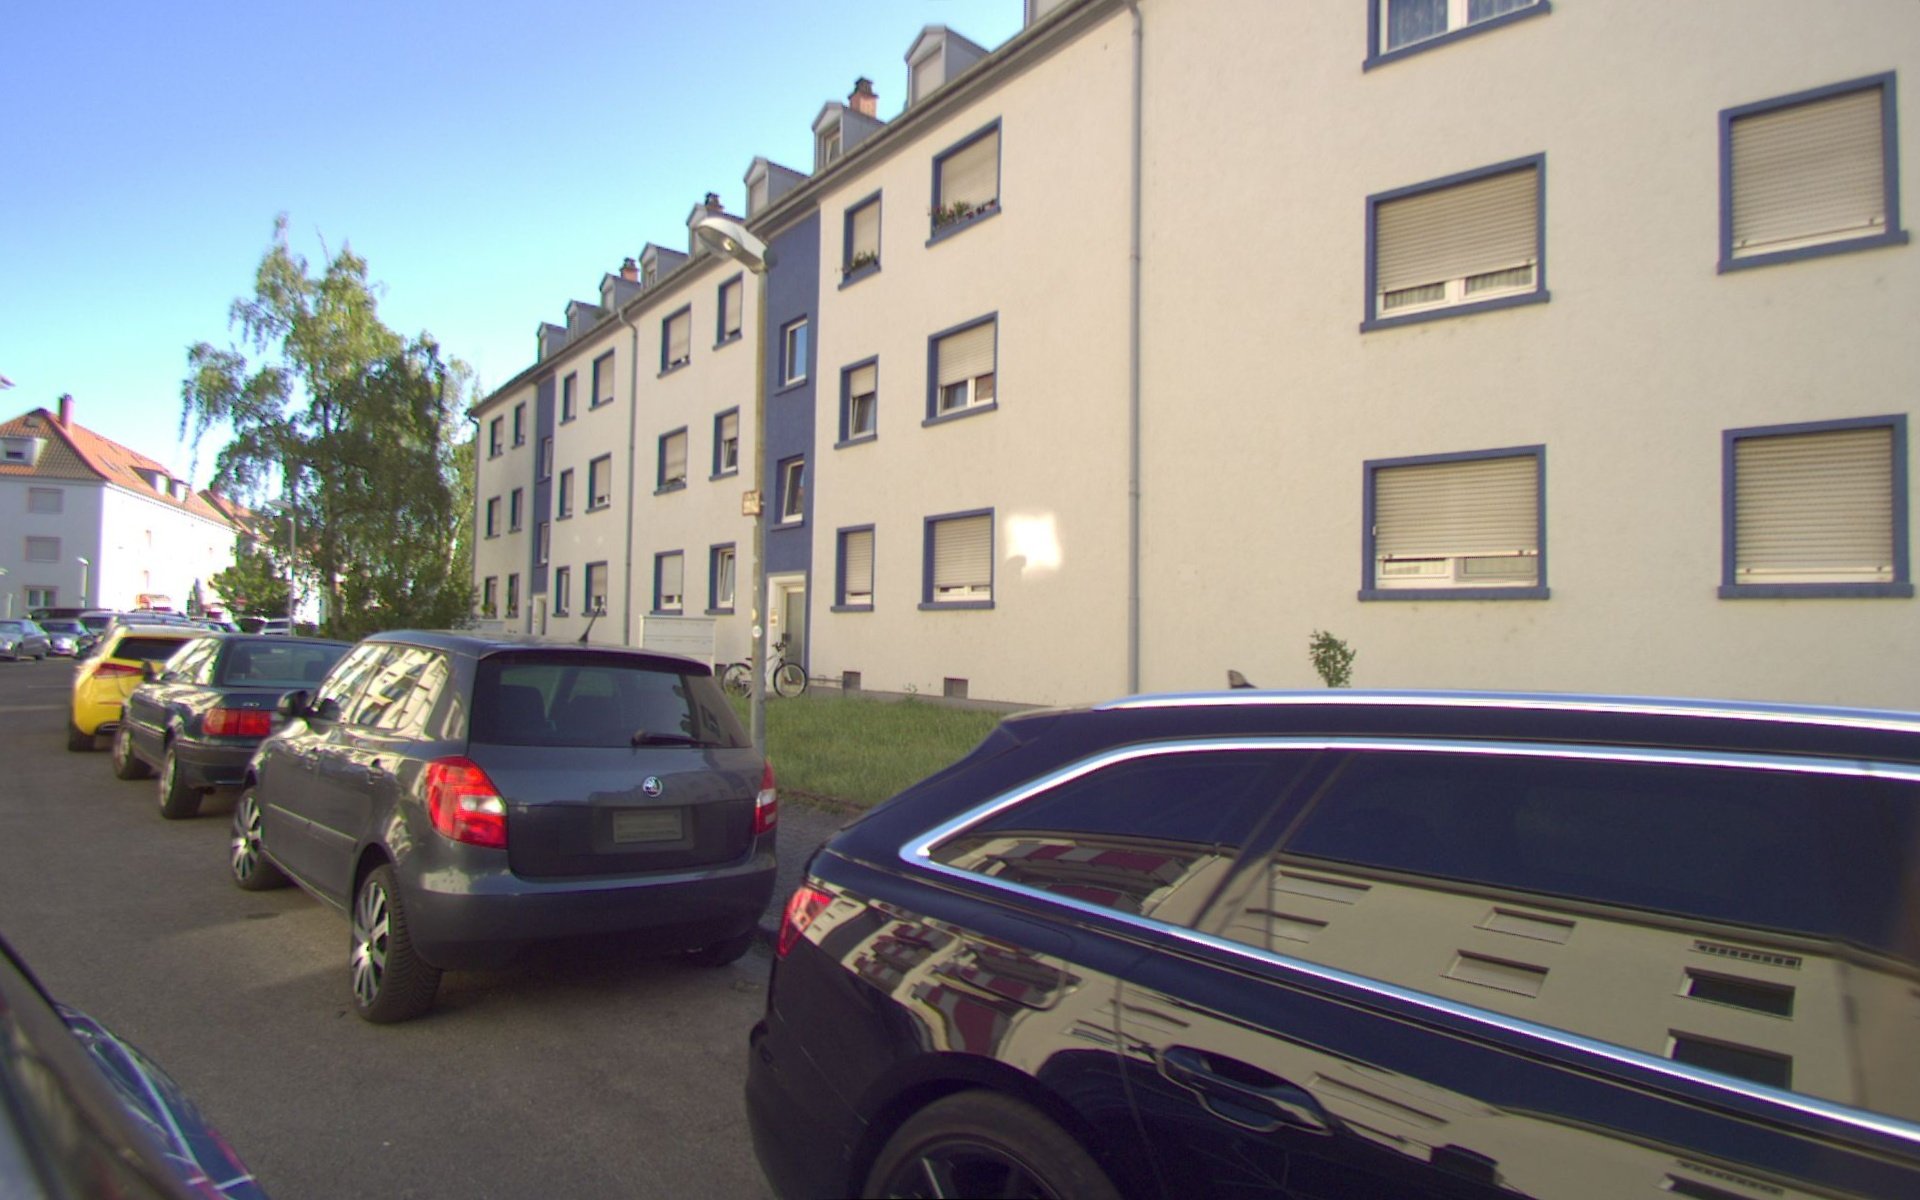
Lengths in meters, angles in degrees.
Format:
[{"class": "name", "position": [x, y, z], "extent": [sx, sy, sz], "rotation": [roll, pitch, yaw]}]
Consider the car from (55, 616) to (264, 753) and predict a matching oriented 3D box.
[{"class": "car", "position": [-9.996, 0.955, 12.516], "extent": [1.673, 1.400, 4.161], "rotation": [4, -4, -42]}]

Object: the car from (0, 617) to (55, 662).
[{"class": "car", "position": [-33.035, 1.333, 34.928], "extent": [1.654, 1.458, 4.738], "rotation": [1, -1, -29]}]

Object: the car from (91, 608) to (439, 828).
[{"class": "car", "position": [-6.211, 0.867, 8.831], "extent": [4.262, 1.476, 1.551], "rotation": [-1, -5, 43]}]

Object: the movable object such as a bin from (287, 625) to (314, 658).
[{"class": "movable object such as a bin", "position": [-29.466, 1.849, 45.249], "extent": [0.765, 1.403, 1.422], "rotation": [2, -2, -25]}]

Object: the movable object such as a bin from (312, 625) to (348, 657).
[{"class": "movable object such as a bin", "position": [-27.983, 1.815, 44.971], "extent": [1.202, 1.391, 0.770], "rotation": [1, -2, -21]}]

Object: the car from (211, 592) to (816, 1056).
[{"class": "car", "position": [-2.461, 0.796, 5.091], "extent": [1.461, 1.488, 3.633], "rotation": [8, -6, -44]}]

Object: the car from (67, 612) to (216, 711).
[{"class": "car", "position": [-13.749, 0.980, 17.042], "extent": [1.672, 1.456, 4.027], "rotation": [5, -4, -39]}]

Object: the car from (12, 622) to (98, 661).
[{"class": "car", "position": [-35.972, 1.600, 40.339], "extent": [1.654, 1.418, 4.559], "rotation": [1, -1, -30]}]

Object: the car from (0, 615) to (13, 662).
[{"class": "car", "position": [-29.605, 1.203, 29.565], "extent": [1.670, 1.442, 4.702], "rotation": [-2, 0, -29]}]

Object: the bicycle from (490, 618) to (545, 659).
[{"class": "bicycle", "position": [-13.008, 1.128, 29.771], "extent": [1.391, 1.161, 0.416], "rotation": [4, -3, -41]}]

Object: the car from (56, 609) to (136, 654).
[{"class": "car", "position": [-38.614, 1.412, 45.337], "extent": [1.722, 1.838, 4.144], "rotation": [4, -3, -28]}]

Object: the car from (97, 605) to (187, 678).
[{"class": "car", "position": [-21.679, 1.066, 26.938], "extent": [1.535, 1.727, 4.347], "rotation": [6, -4, -37]}]

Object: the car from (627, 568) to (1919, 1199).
[{"class": "car", "position": [1.550, 0.762, 1.388], "extent": [4.598, 1.442, 1.724], "rotation": [0, -5, 43]}]

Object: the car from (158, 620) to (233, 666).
[{"class": "car", "position": [-27.396, 1.498, 36.376], "extent": [1.655, 1.453, 4.292], "rotation": [6, -4, -32]}]

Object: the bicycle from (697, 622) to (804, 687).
[{"class": "bicycle", "position": [-3.761, 0.951, 18.207], "extent": [1.796, 1.086, 0.570], "rotation": [-1, -1, -34]}]

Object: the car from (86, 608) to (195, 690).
[{"class": "car", "position": [-17.526, 0.990, 21.642], "extent": [1.672, 1.572, 4.163], "rotation": [0, -1, -40]}]
